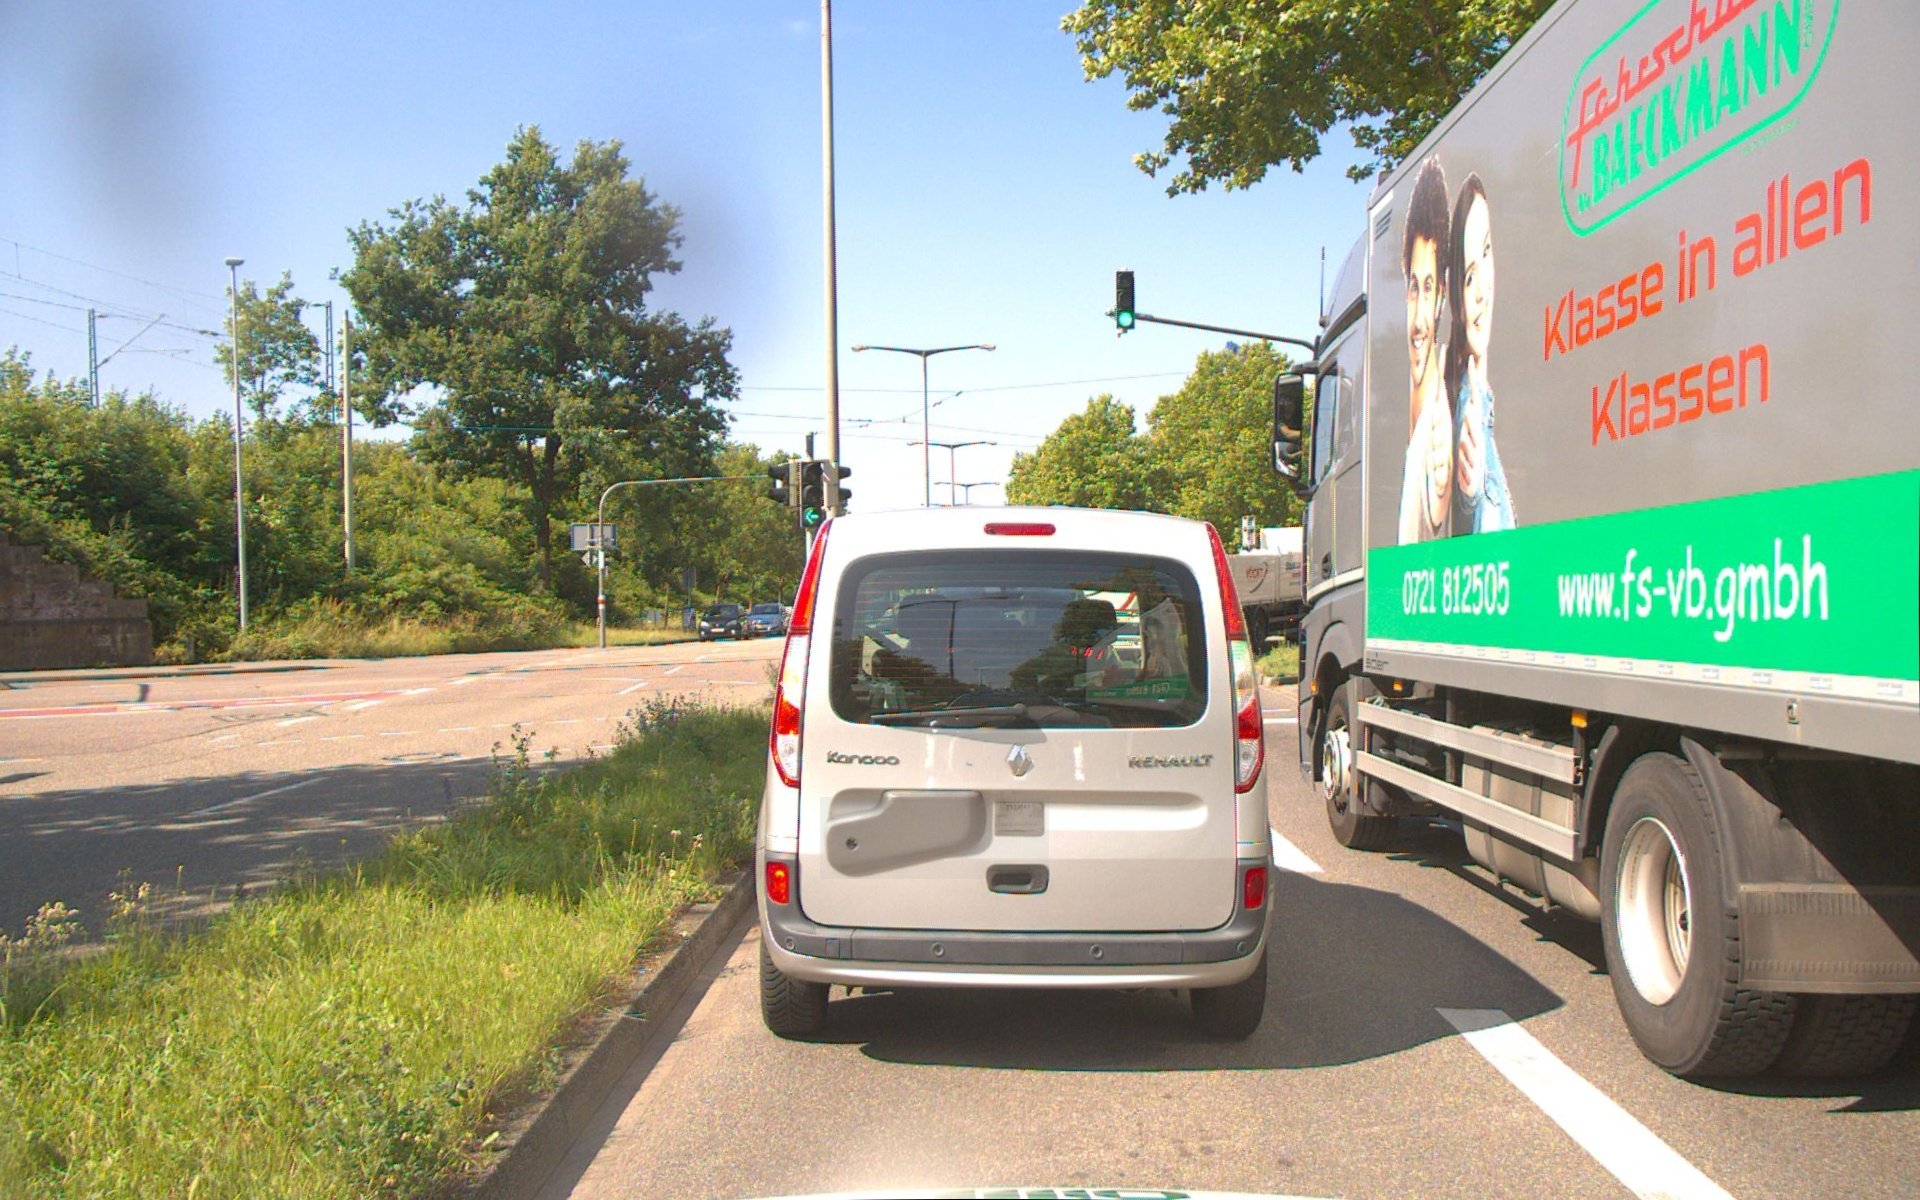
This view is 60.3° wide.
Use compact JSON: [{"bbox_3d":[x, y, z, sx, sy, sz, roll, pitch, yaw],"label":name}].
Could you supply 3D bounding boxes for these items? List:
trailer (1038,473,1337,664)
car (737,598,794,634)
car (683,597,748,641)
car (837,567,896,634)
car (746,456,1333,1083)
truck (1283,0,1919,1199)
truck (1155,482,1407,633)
[{"bbox_3d":[5.711,-0.546,38.236,2.844,3.686,12.670,1,0,27],"label":"trailer"},{"bbox_3d":[-8.939,0.735,76.189,1.952,1.567,4.237,-1,0,2],"label":"car"},{"bbox_3d":[-9.617,0.739,65.315,1.872,1.670,3.738,-1,0,2],"label":"car"},{"bbox_3d":[-3.904,0.037,69.504,1.952,2.653,5.135,-1,0,2],"label":"car"},{"bbox_3d":[0.218,0.524,7.006,1.750,1.870,3.999,1,0,-1],"label":"car"},{"bbox_3d":[3.511,-0.545,7.307,2.673,3.958,8.724,0,0,2],"label":"truck"},{"bbox_3d":[8.666,-1.008,44.146,7.124,3.707,2.877,1,-1,-41],"label":"truck"}]
